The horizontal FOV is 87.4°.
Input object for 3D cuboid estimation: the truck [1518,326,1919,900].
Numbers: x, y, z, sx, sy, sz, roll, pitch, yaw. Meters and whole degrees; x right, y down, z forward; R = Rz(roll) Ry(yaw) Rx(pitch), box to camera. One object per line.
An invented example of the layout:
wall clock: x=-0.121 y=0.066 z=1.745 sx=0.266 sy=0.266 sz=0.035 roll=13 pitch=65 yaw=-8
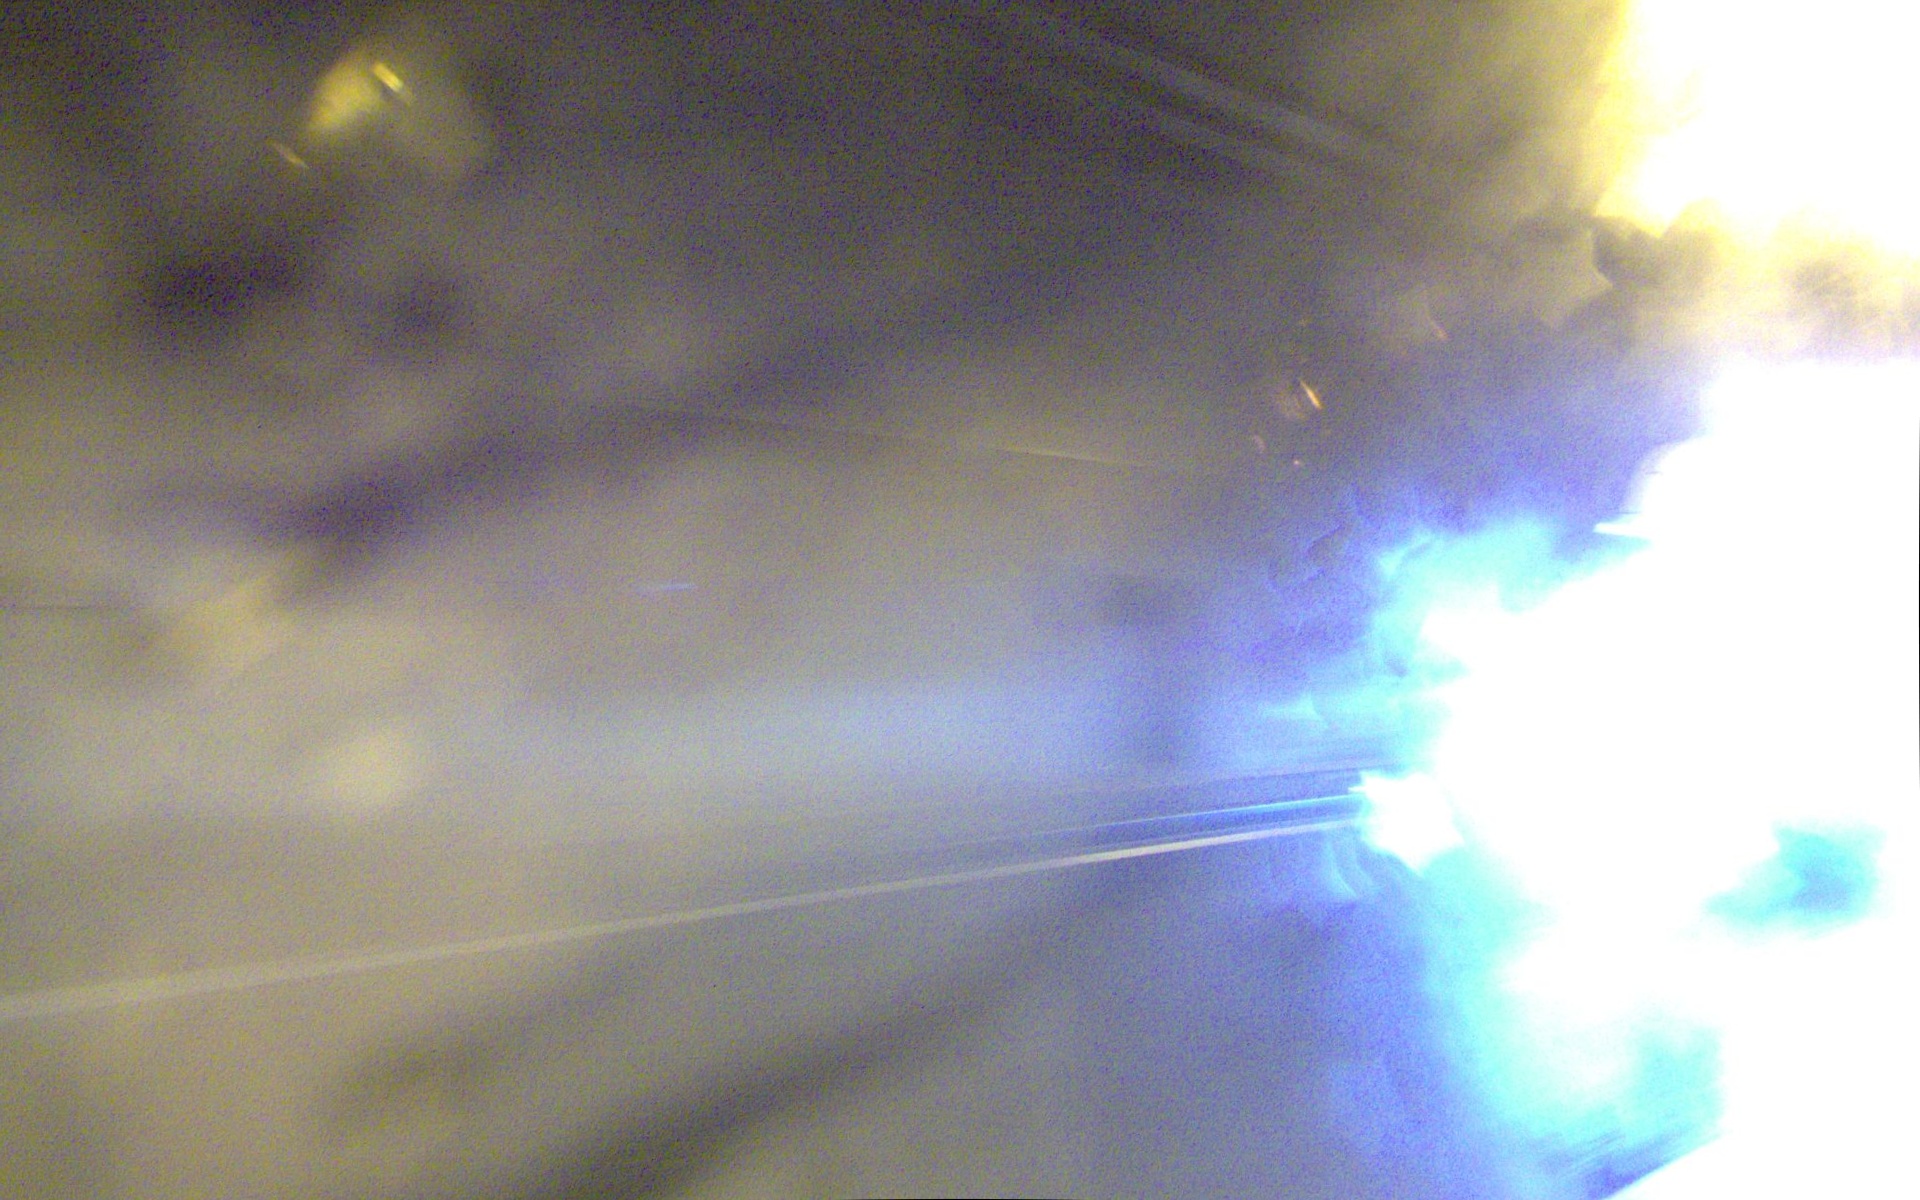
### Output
truck: x=7.358 y=0.120 z=7.938 sx=6.520 sy=3.057 sz=2.267 roll=1 pitch=0 yaw=-32
